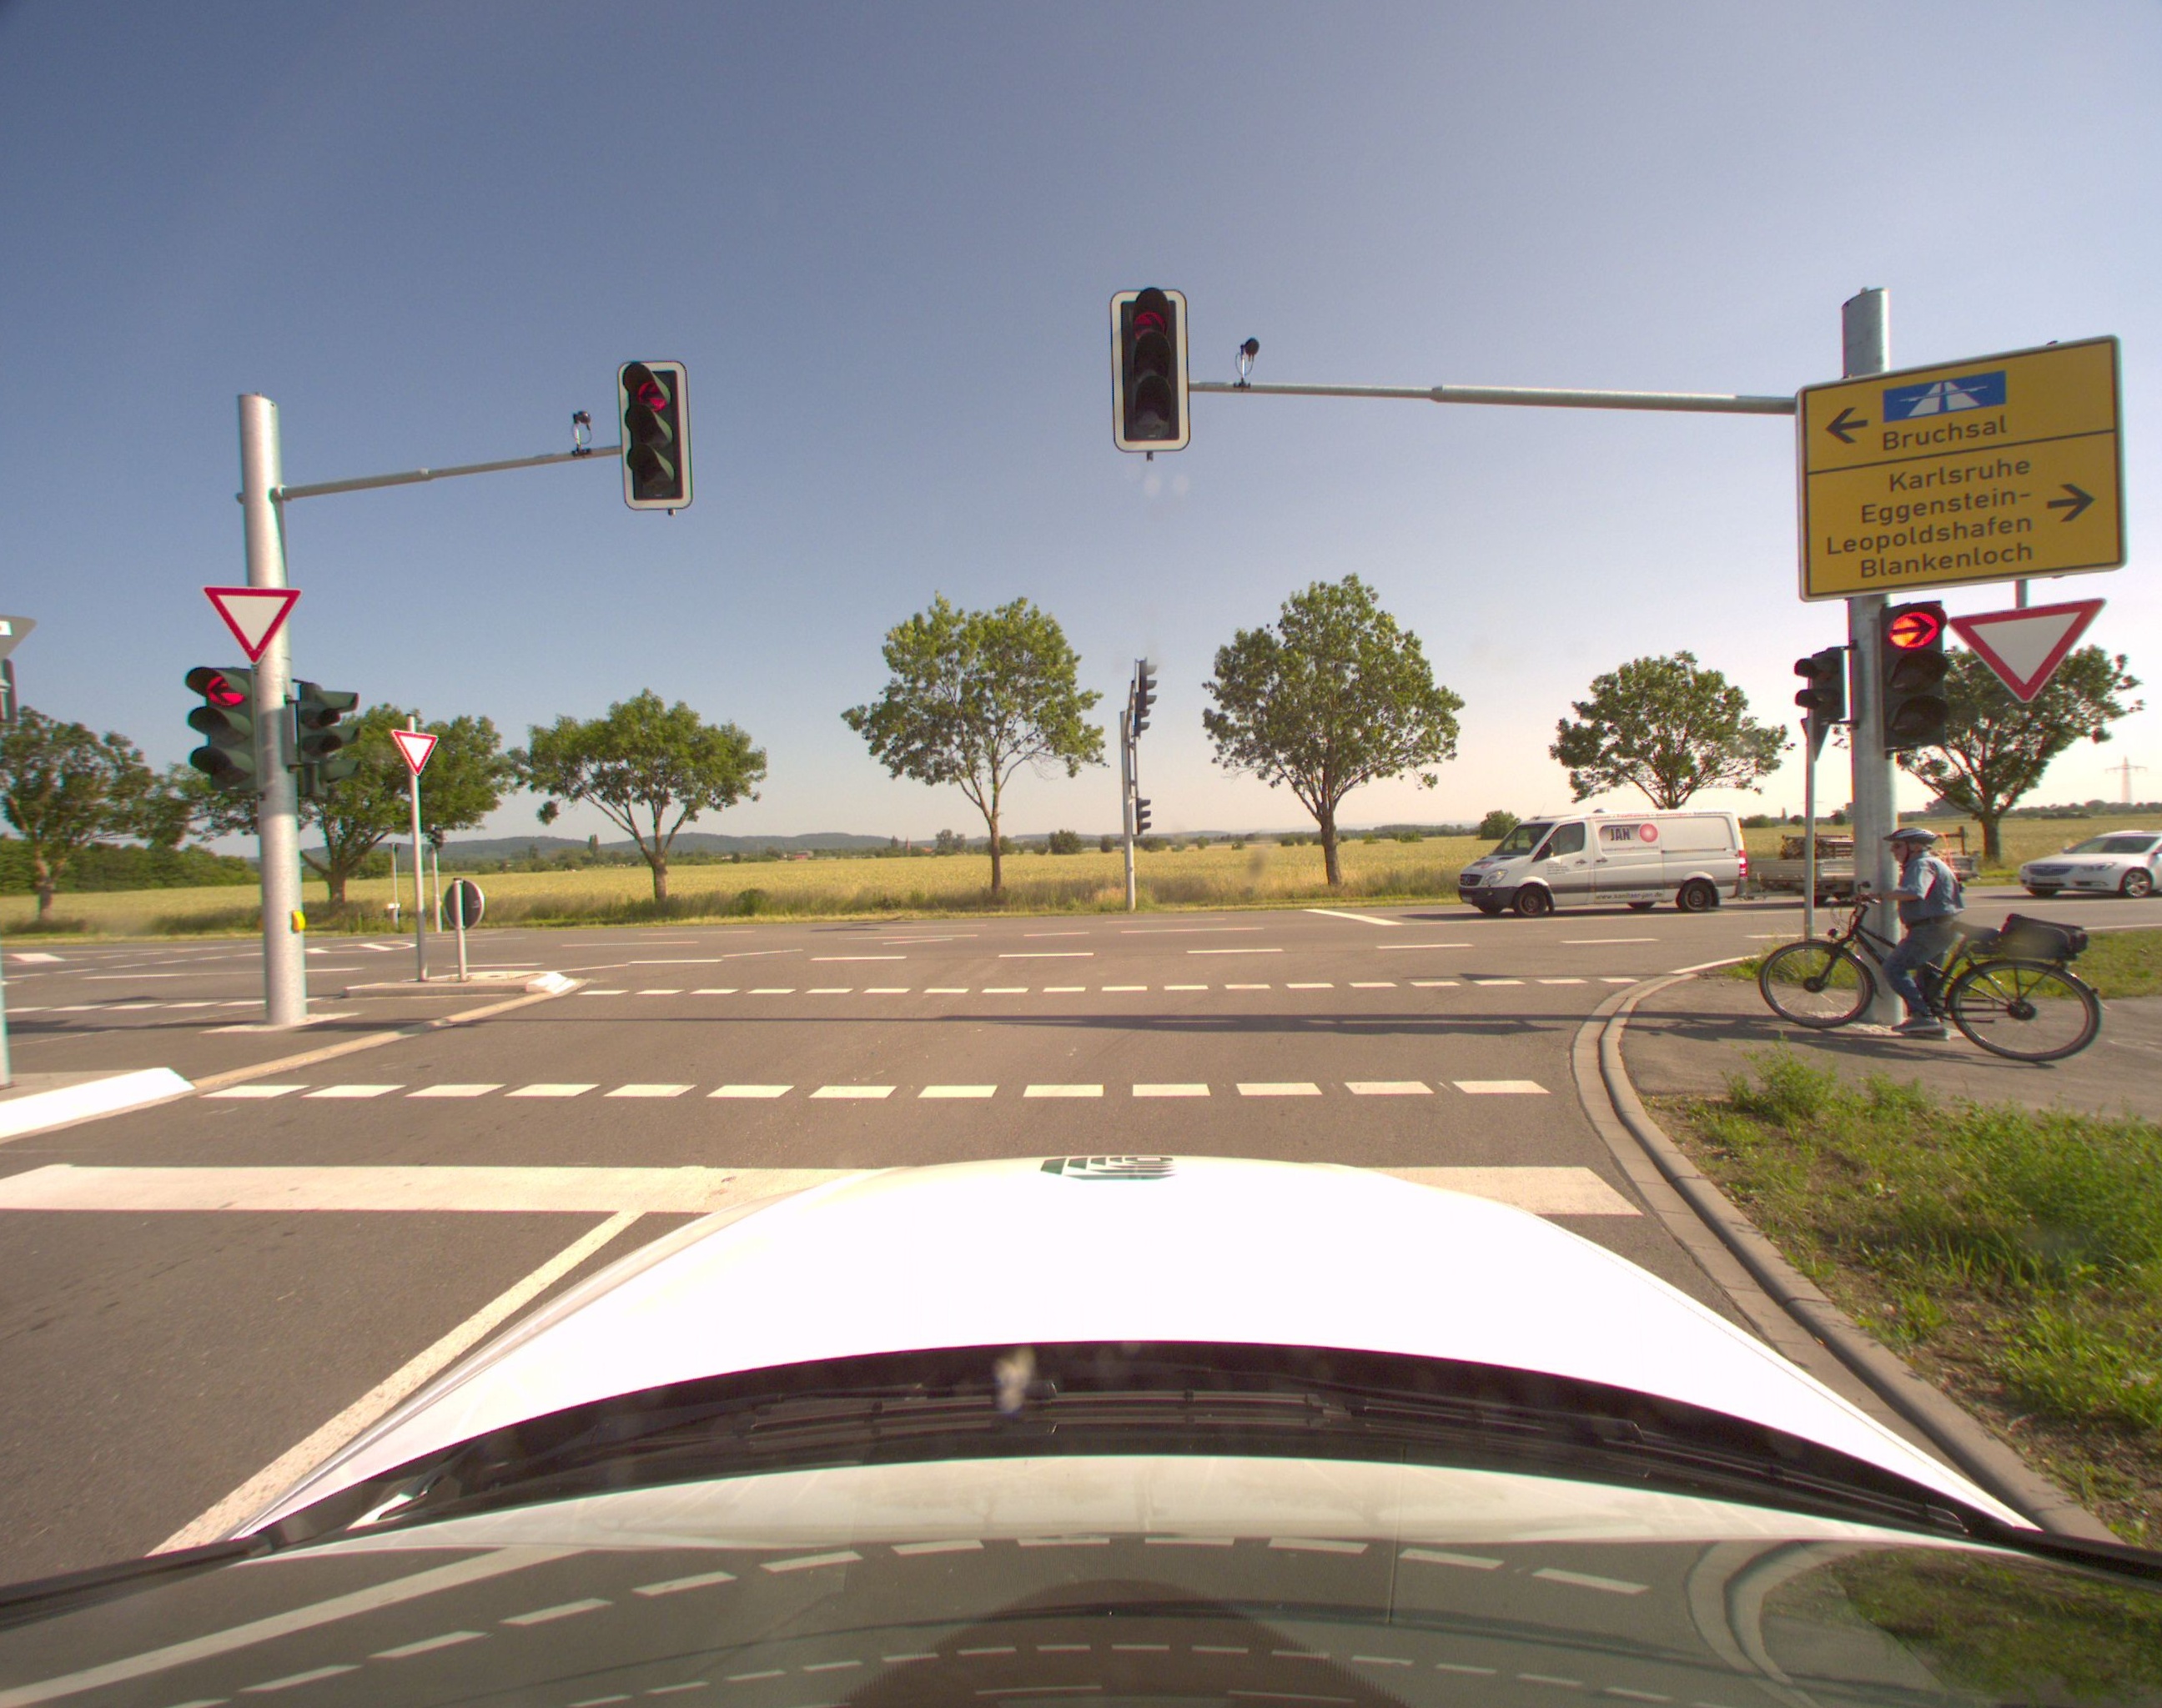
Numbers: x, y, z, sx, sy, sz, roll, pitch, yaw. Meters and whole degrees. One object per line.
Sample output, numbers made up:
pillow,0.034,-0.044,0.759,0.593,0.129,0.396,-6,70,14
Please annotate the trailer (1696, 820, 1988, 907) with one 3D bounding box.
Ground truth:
trailer,17.406,0.218,18.800,4.983,1.738,1.979,-2,-1,-2

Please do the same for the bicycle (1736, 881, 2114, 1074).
bicycle,6.364,0.843,6.301,0.685,1.151,1.922,0,2,-44

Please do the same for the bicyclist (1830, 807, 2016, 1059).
bicyclist,6.406,0.538,6.233,0.623,1.765,0.906,0,1,-44

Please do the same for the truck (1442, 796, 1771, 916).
truck,11.825,0.053,18.659,6.157,2.405,2.071,-2,-1,0

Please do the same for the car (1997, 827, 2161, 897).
car,24.598,0.134,18.988,4.682,1.492,1.763,-2,-1,-3
